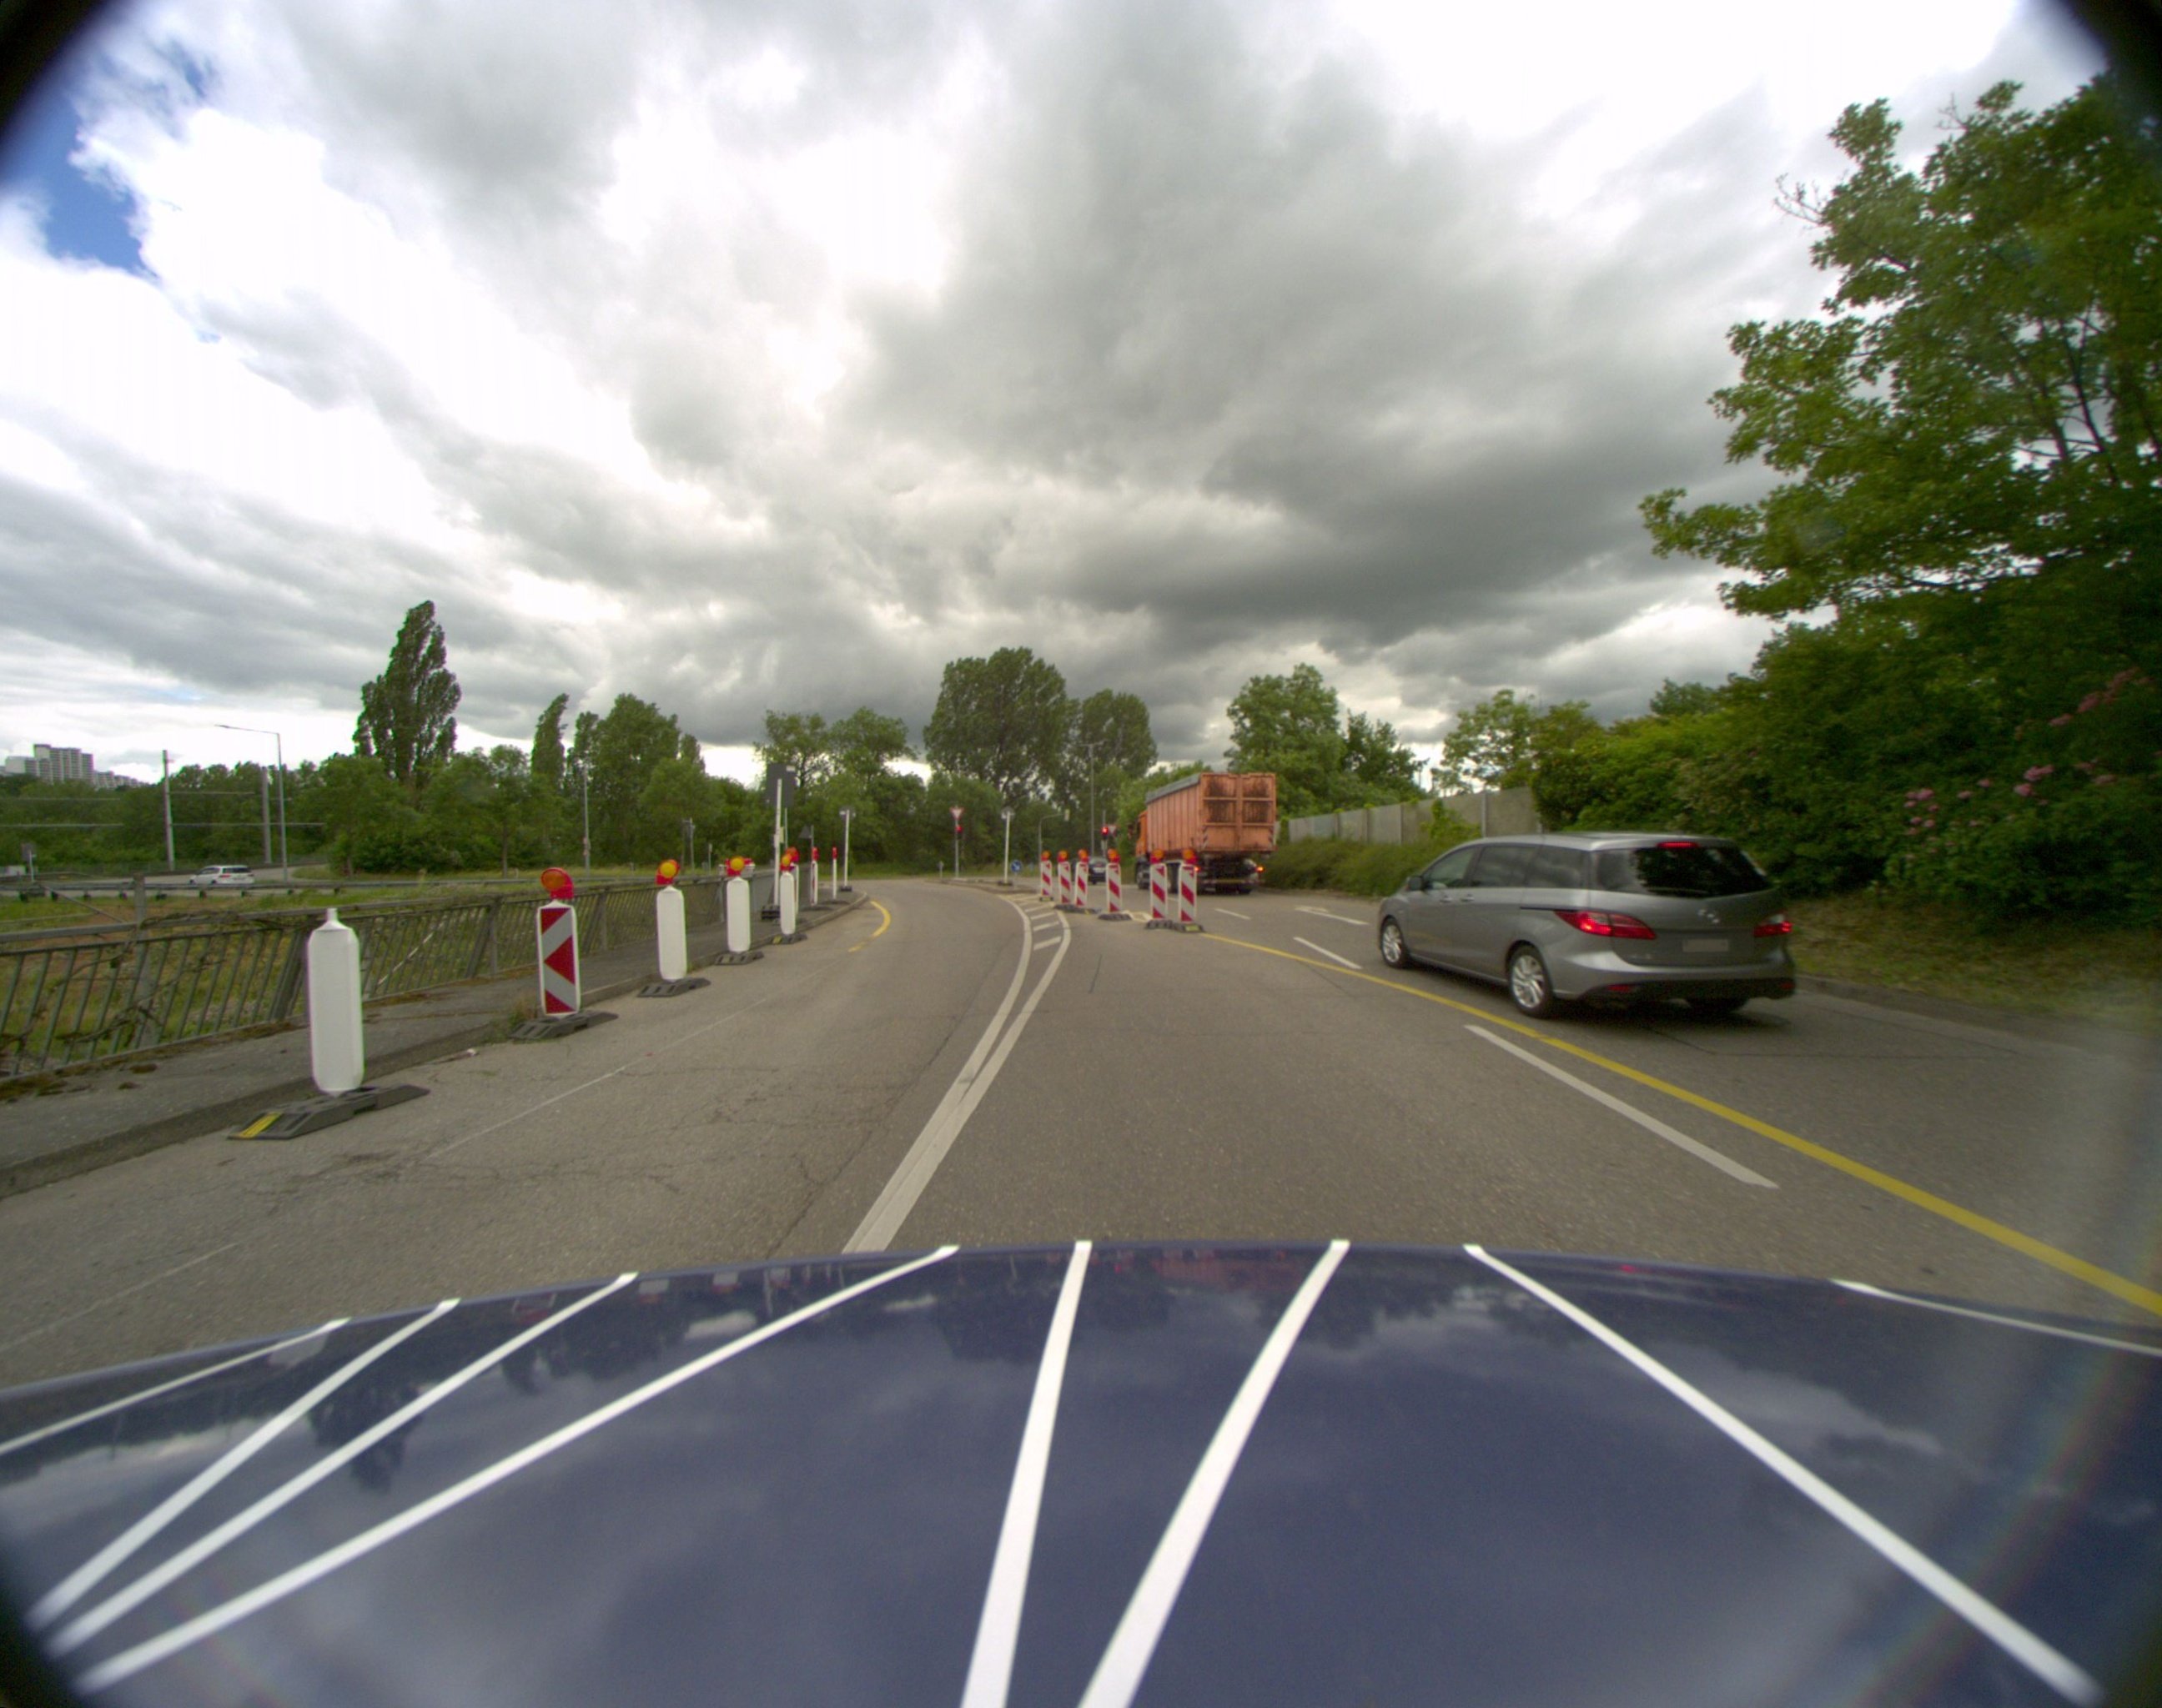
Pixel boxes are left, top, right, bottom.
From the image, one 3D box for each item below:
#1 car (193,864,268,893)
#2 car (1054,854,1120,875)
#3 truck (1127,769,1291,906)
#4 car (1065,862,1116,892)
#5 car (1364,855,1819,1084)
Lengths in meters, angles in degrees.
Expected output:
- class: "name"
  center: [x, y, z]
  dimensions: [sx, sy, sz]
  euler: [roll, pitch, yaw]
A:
- class: "car"
  center: [-58.913, 1.718, 52.632]
  dimensions: [4.313, 1.748, 2.087]
  euler: [-3, -3, 22]
- class: "car"
  center: [0.497, 0.768, 57.759]
  dimensions: [4.974, 1.468, 1.874]
  euler: [-1, -1, -40]
- class: "truck"
  center: [4.258, -0.526, 28.246]
  dimensions: [3.120, 4.196, 9.785]
  euler: [-1, 0, -8]
- class: "car"
  center: [0.474, 1.259, 41.837]
  dimensions: [1.645, 1.542, 3.783]
  euler: [1, -1, -18]
- class: "car"
  center: [4.484, 0.837, 7.635]
  dimensions: [1.636, 1.536, 4.350]
  euler: [-2, 1, 0]
